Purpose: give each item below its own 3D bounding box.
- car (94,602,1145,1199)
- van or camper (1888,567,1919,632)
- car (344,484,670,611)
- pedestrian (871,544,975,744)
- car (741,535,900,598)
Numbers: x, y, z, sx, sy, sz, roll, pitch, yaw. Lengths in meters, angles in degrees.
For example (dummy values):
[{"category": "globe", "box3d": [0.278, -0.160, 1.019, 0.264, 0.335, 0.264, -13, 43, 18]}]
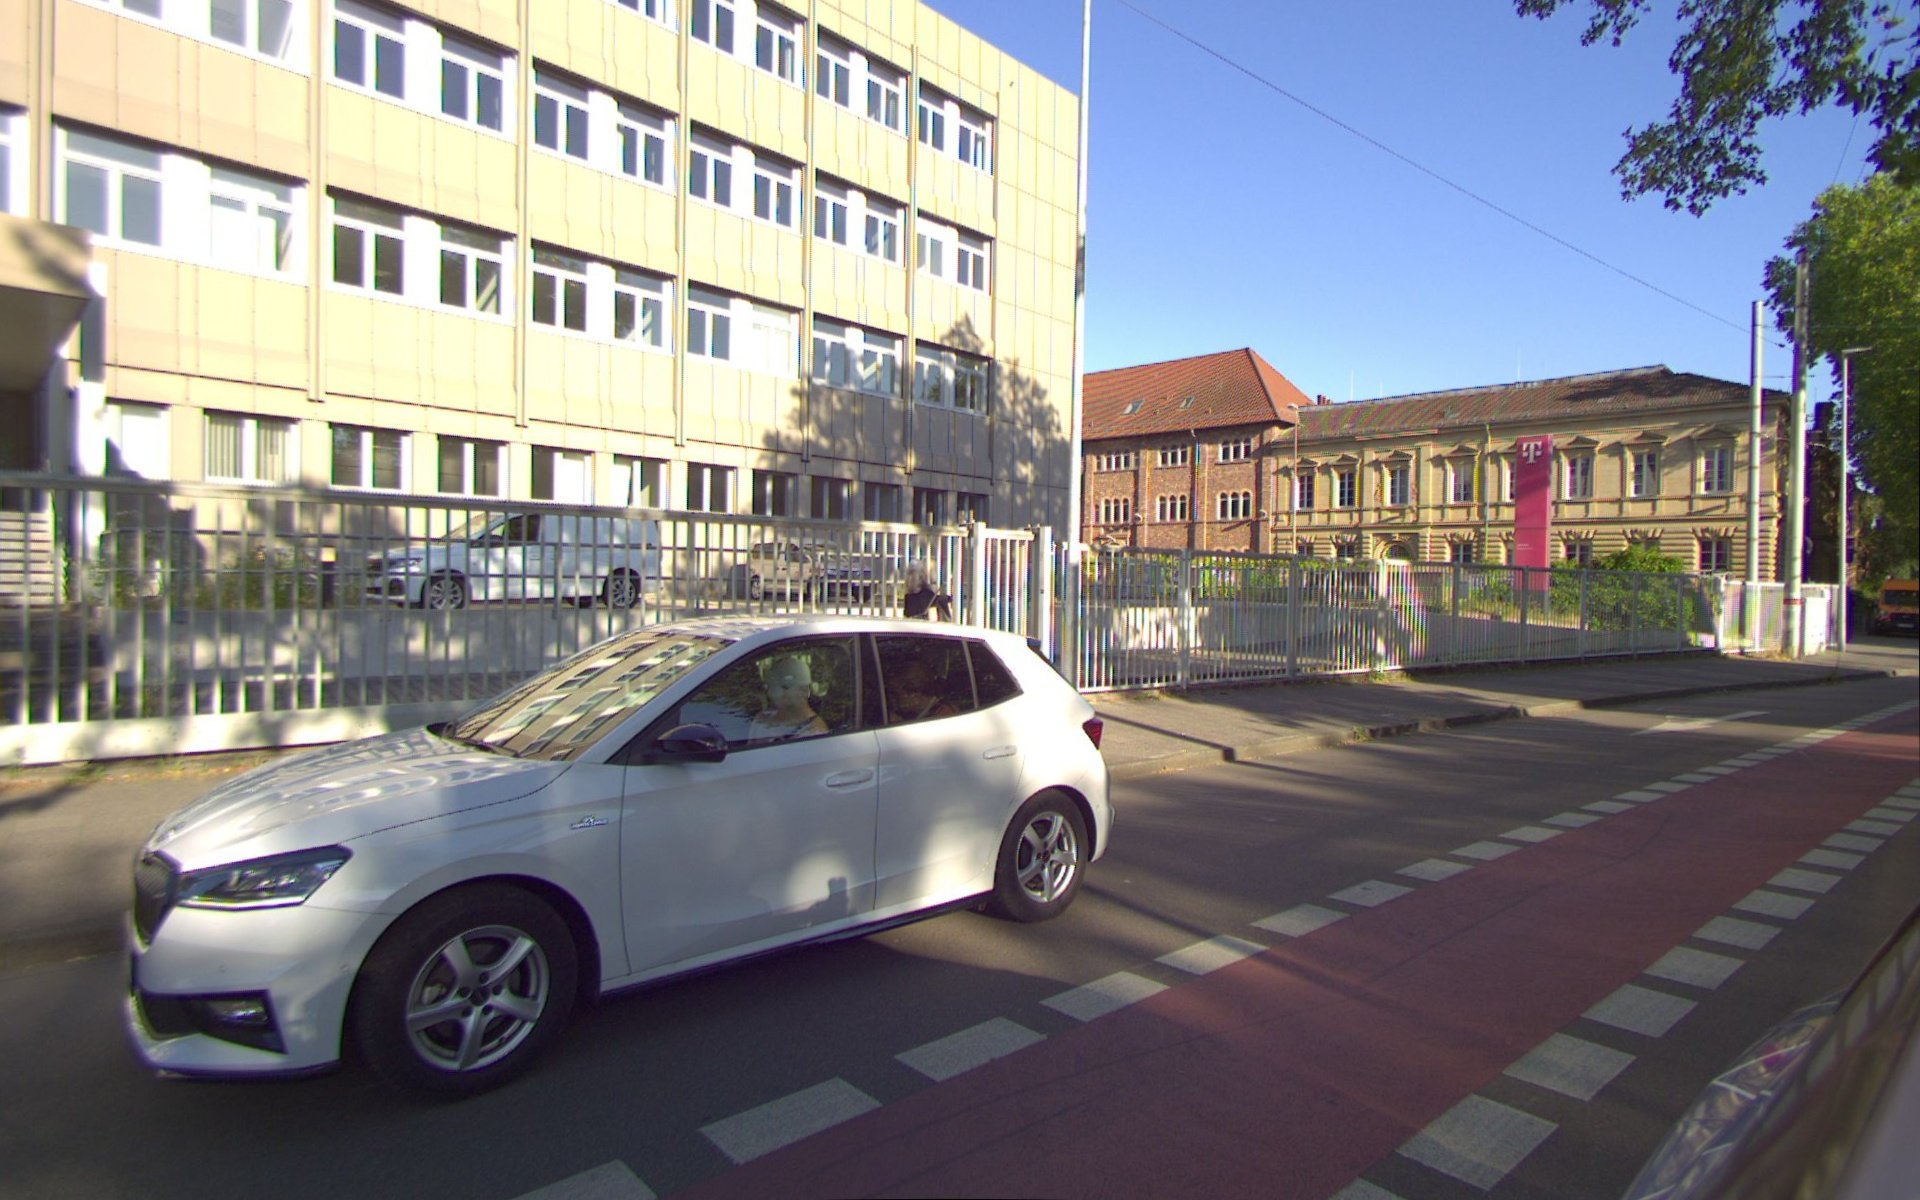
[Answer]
[{"category": "car", "box3d": [-1.105, 0.729, 4.398, 4.005, 1.406, 1.703, 0, 0, -42]}, {"category": "van or camper", "box3d": [41.134, -0.051, 43.241, 1.994, 2.626, 5.537, 0, 0, 44]}, {"category": "car", "box3d": [-7.591, -0.819, 17.327, 1.994, 1.865, 4.709, 2, 2, 44]}, {"category": "pedestrian", "box3d": [-0.345, 0.385, 9.501, 0.757, 1.784, 0.592, 0, 1, -41]}, {"category": "car", "box3d": [-3.930, -0.917, 27.992, 4.563, 1.601, 1.968, 2, 2, 44]}]
